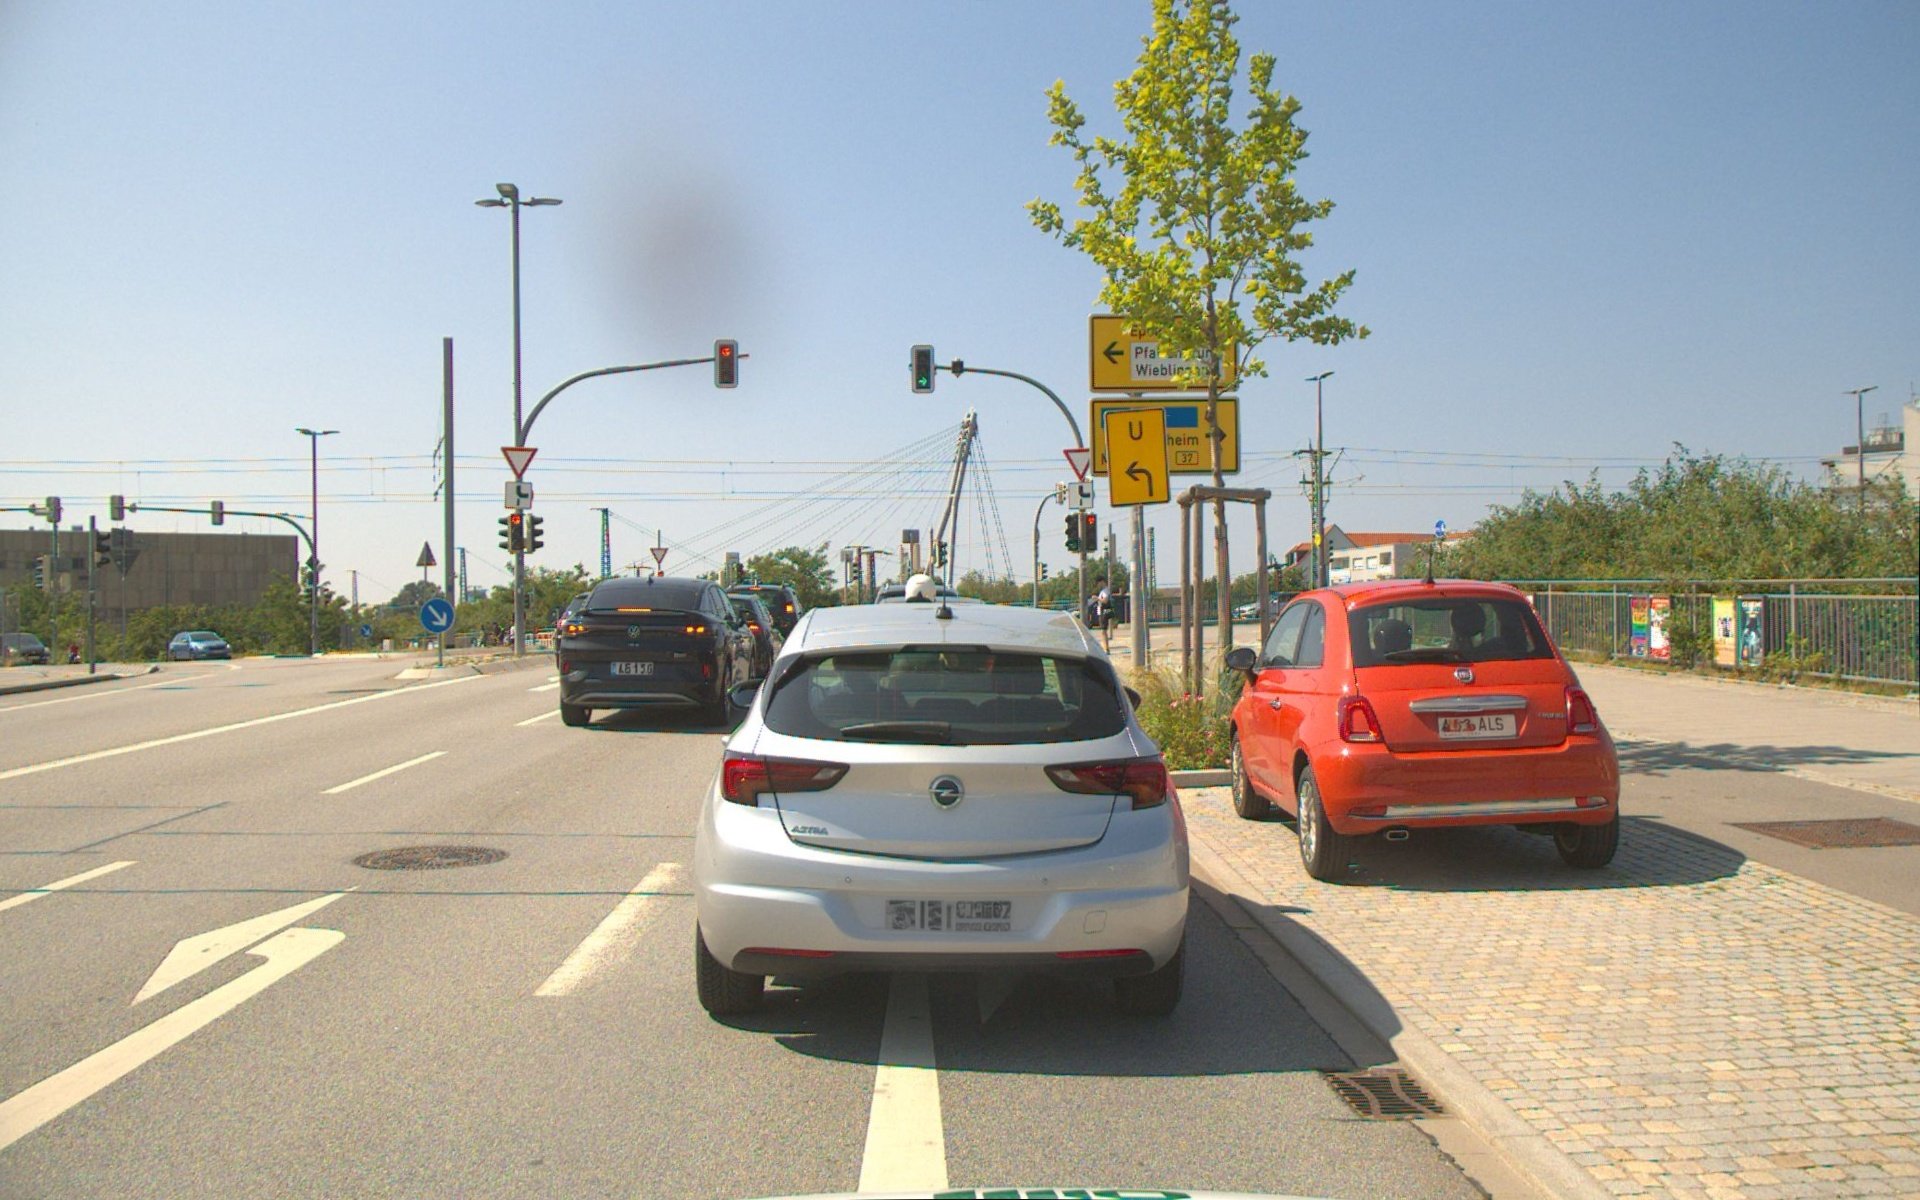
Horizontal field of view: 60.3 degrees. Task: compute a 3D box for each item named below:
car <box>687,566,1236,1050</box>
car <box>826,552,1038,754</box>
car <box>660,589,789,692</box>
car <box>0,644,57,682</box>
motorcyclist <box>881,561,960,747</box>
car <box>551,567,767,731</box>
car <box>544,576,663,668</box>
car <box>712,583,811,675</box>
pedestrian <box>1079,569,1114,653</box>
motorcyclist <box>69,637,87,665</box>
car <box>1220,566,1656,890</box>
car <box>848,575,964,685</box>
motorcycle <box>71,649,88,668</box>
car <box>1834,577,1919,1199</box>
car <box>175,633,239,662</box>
[{"bbox_3d":[-0.096,0.666,7.195,1.708,1.503,3.997,1,0,-3],"label":"car"},{"bbox_3d":[-0.290,0.468,17.623,1.953,1.852,4.401,1,1,-1],"label":"car"},{"bbox_3d":[-3.576,0.593,25.629,1.543,1.459,3.785,1,0,-2],"label":"car"},{"bbox_3d":[-41.214,2.778,73.148,1.662,1.502,3.358,-1,1,-39],"label":"car"},{"bbox_3d":[-0.318,0.413,12.980,0.570,1.413,0.706,1,-1,-4],"label":"motorcyclist"},{"bbox_3d":[-3.370,0.514,19.331,1.765,1.670,4.365,1,0,-1],"label":"car"},{"bbox_3d":[-6.580,0.394,30.855,1.565,1.574,3.760,1,0,-3],"label":"car"},{"bbox_3d":[-3.752,0.531,31.746,1.616,1.643,3.818,1,0,-3],"label":"car"},{"bbox_3d":[3.080,0.244,37.336,0.634,1.868,0.797,-2,0,-3],"label":"pedestrian"},{"bbox_3d":[-48.665,2.837,91.287,0.746,1.520,0.668,1,-1,-38],"label":"motorcyclist"},{"bbox_3d":[2.602,0.613,9.767,1.577,1.522,3.352,-2,0,0],"label":"car"},{"bbox_3d":[-0.821,0.416,26.570,1.689,1.591,4.000,1,1,-1],"label":"car"},{"bbox_3d":[-48.542,3.227,91.167,0.515,0.971,1.908,1,0,-37],"label":"motorcycle"},{"bbox_3d":[2.926,0.638,1.903,1.627,1.451,3.999,-2,0,-1],"label":"car"},{"bbox_3d":[-36.274,2.284,79.604,1.806,1.354,3.941,1,-2,-40],"label":"car"}]
